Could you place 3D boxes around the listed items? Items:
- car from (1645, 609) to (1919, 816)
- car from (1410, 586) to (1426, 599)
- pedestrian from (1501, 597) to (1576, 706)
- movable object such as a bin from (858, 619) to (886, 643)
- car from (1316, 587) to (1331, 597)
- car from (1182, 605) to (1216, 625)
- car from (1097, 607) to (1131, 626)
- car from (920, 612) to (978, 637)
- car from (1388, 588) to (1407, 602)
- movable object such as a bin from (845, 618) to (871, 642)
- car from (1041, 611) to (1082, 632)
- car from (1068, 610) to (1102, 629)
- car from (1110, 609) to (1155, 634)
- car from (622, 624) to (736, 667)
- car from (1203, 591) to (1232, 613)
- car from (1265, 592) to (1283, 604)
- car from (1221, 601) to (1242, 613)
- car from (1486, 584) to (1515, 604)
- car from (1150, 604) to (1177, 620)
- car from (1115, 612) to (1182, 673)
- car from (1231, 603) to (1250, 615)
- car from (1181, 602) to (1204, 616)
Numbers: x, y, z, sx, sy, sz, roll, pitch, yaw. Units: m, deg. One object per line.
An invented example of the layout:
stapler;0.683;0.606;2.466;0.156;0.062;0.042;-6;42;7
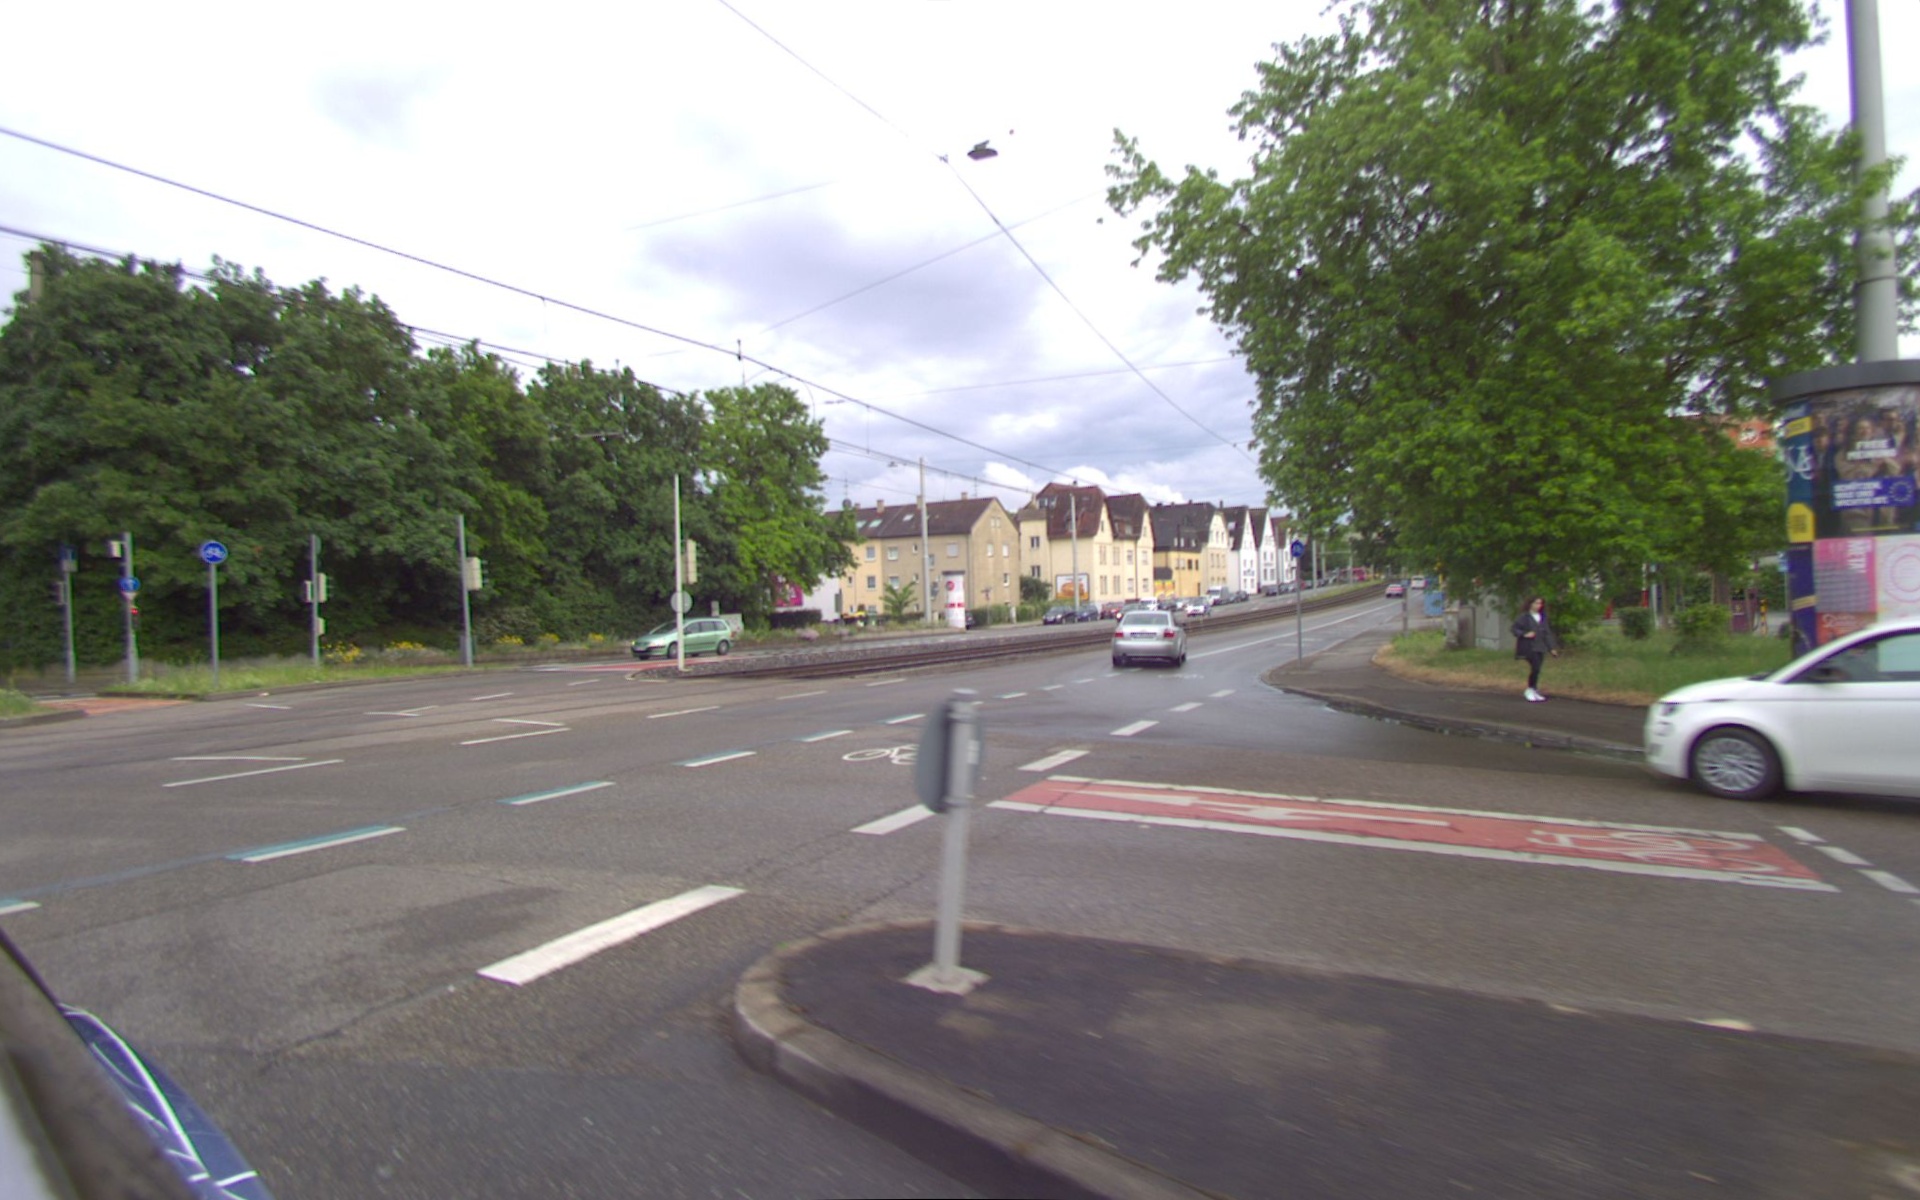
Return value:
car;7.739;0.808;7.612;1.667;1.494;4.004;1;-2;-43
car;70.104;-1.145;154.909;1.991;2.029;5.012;1;0;28
pedestrian;8.528;0.744;14.935;0.583;1.543;0.670;-4;0;-8
movable object such as a bin;-5.775;2.052;66.242;1.308;1.428;1.289;-4;0;26
car;67.513;-1.506;187.989;1.721;1.559;4.158;-4;0;31
car;20.697;1.287;87.608;1.880;1.435;4.162;-4;0;28
car;14.719;1.558;96.503;1.834;1.640;4.061;-4;-1;28
car;-0.906;2.005;82.223;4.274;1.667;1.859;-6;-1;32
car;54.708;-0.611;126.538;1.990;1.662;4.716;0;0;27
movable object such as a bin;-6.525;1.926;64.780;1.182;1.428;1.125;-4;0;26
car;8.524;1.799;84.358;1.834;1.545;4.397;-4;-1;27
car;11.077;1.702;89.615;1.664;1.454;3.894;-4;-1;26
car;12.105;1.495;70.797;1.880;1.435;4.162;-4;0;28
car;-10.747;1.740;39.000;1.880;1.460;4.161;-3;-2;28
car;32.617;0.200;128.265;2.037;2.517;5.864;-4;0;28
car;48.206;-0.317;155.287;1.721;1.559;4.158;-4;0;31
car;35.997;0.878;134.148;1.719;1.355;4.047;-4;0;28
car;44.238;-0.526;82.865;1.766;1.426;4.041;-4;0;25
car;22.056;1.281;109.657;1.685;1.523;4.096;-4;-1;29
car;5.058;1.085;26.981;1.575;1.448;4.410;-2;-1;12
car;38.638;1.217;139.310;1.719;1.355;4.162;-4;0;27
car;27.408;1.075;119.270;1.600;1.412;3.754;-4;-1;30
